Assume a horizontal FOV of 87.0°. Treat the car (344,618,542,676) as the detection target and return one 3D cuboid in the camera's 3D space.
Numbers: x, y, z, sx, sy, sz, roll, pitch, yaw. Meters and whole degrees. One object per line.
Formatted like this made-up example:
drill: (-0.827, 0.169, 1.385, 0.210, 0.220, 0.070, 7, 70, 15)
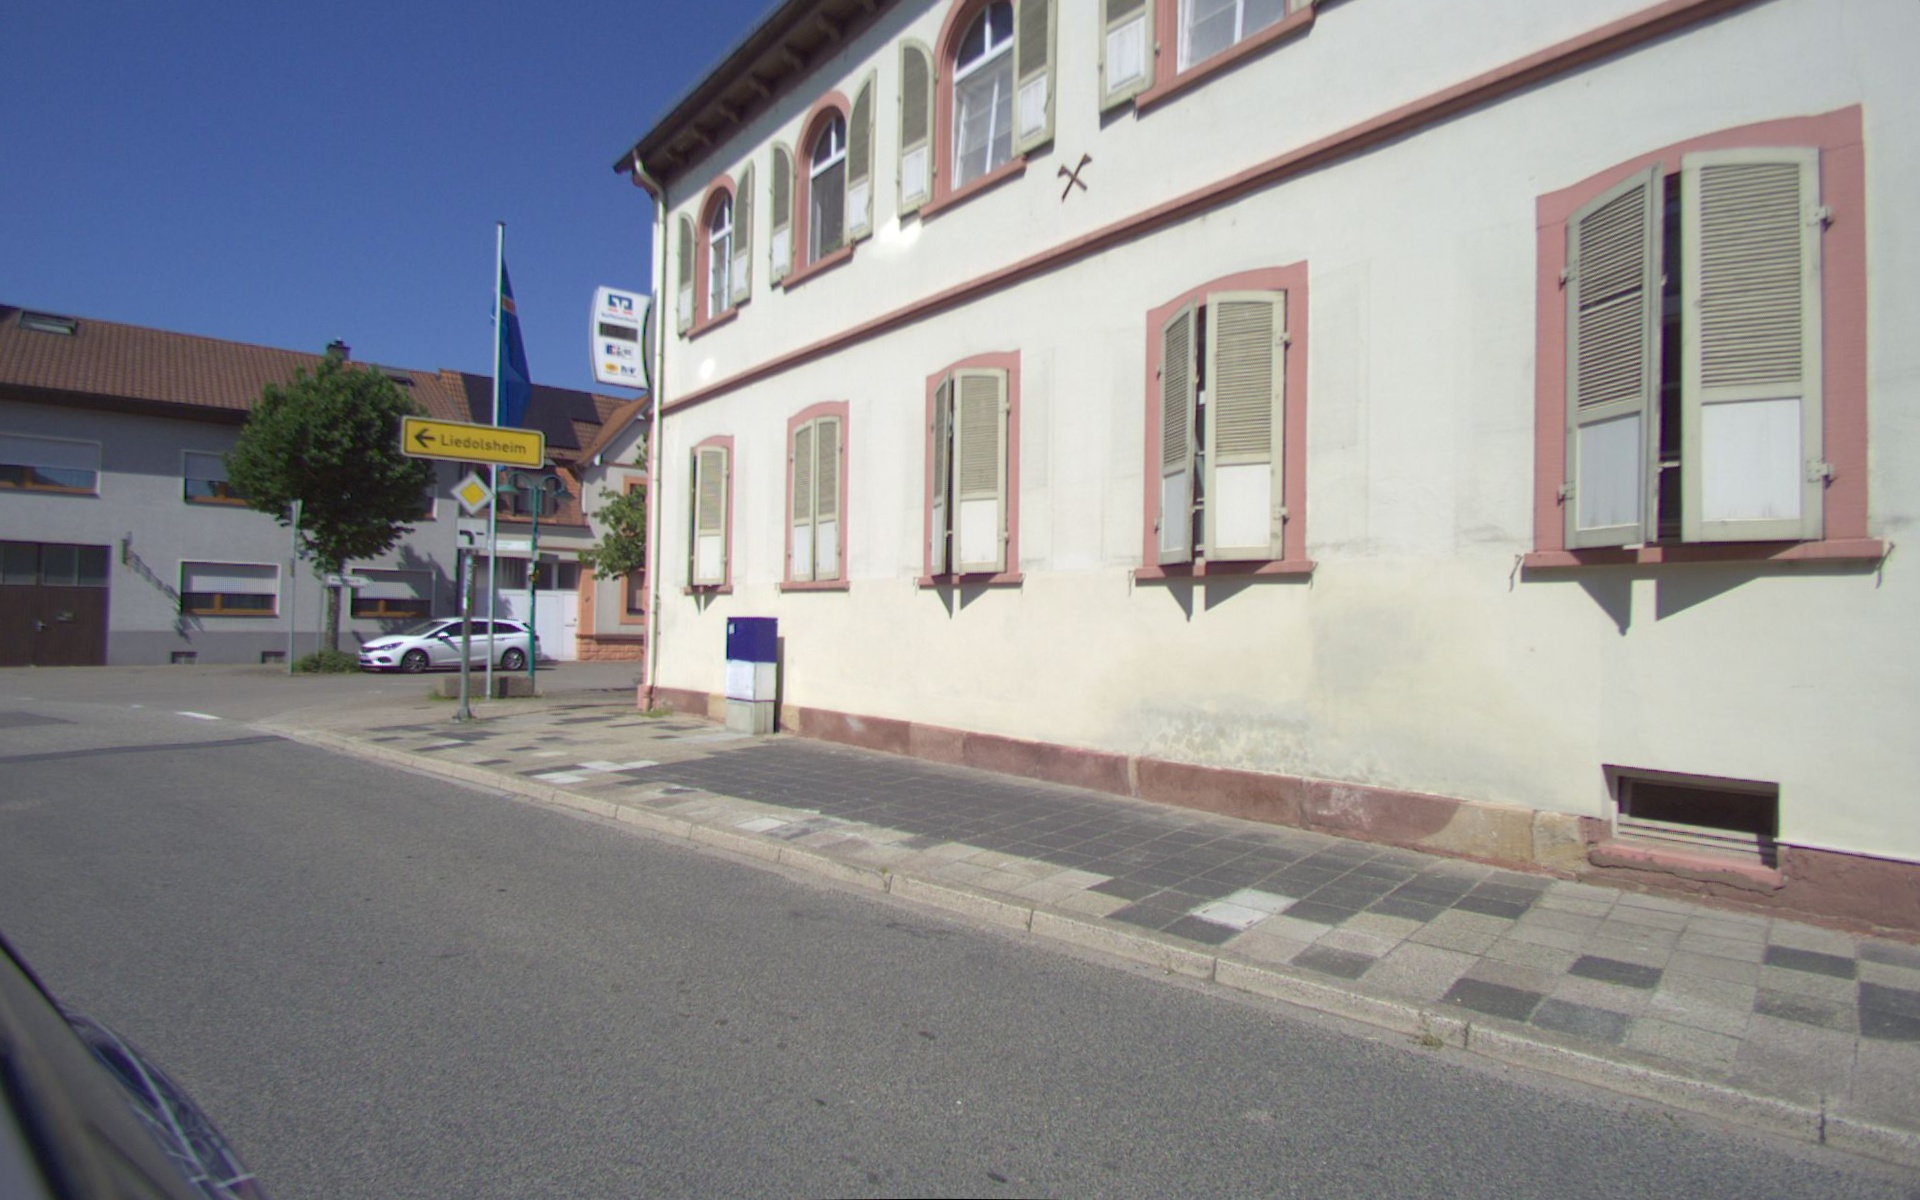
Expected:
car: (-14.017, 1.220, 27.677, 1.853, 1.451, 4.455, -1, -2, 38)
